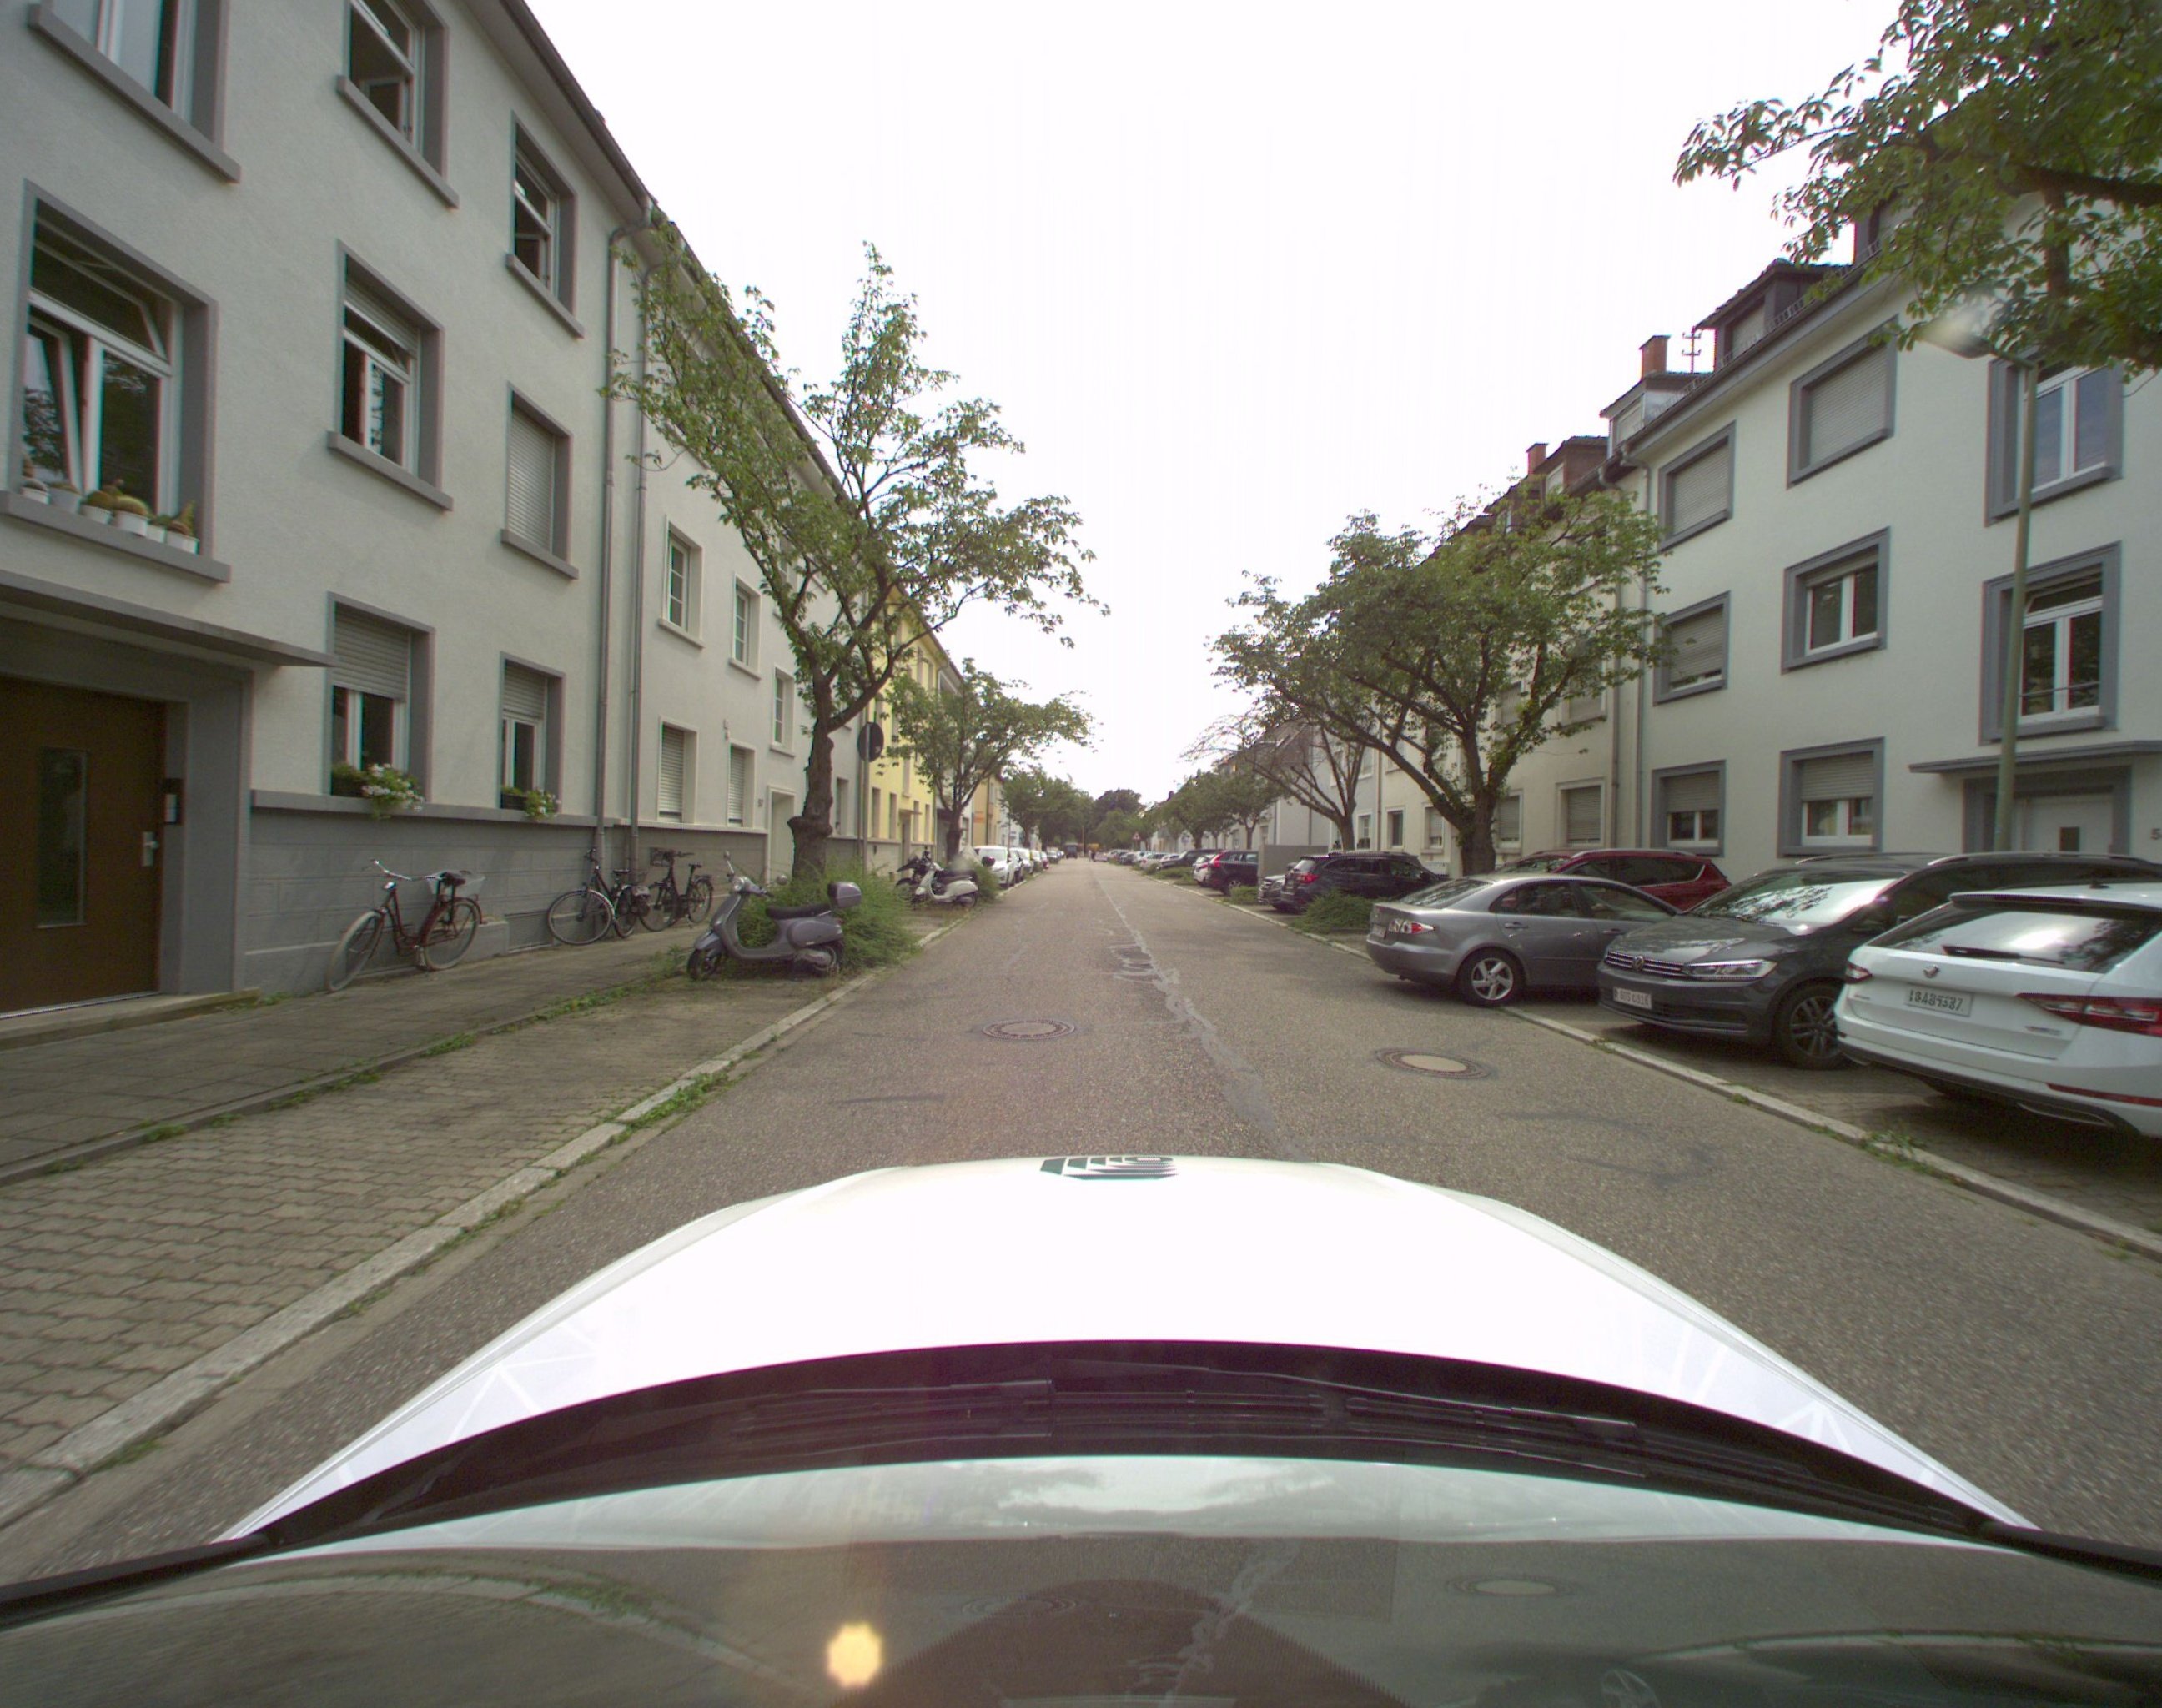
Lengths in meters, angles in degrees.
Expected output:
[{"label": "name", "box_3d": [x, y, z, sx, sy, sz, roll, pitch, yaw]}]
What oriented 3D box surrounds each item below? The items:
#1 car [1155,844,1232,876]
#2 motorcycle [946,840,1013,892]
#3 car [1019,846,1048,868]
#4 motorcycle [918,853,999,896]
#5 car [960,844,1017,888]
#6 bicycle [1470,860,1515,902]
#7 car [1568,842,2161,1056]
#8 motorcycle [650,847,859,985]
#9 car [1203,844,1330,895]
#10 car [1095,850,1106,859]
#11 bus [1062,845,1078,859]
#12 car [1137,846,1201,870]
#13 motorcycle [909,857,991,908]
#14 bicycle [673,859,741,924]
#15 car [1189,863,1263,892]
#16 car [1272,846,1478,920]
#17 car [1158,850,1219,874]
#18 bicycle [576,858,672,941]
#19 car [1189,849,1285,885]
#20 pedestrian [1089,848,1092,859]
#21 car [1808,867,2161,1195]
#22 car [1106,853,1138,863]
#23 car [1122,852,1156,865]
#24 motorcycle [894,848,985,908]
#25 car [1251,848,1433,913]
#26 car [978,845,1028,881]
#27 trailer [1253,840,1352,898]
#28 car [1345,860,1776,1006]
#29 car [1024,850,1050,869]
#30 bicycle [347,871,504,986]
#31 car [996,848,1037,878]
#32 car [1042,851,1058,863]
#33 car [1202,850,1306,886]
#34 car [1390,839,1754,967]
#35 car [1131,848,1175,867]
[{"label": "car", "box_3d": [6.841, 0.342, 49.978, 4.508, 1.858, 1.794, -1, 0, 2]}, {"label": "motorcycle", "box_3d": [-3.463, 0.382, 27.522, 0.944, 1.676, 2.444, 1, 0, -44]}, {"label": "car", "box_3d": [-3.533, 0.249, 61.509, 1.766, 1.392, 4.275, 7, 0, 1]}, {"label": "motorcycle", "box_3d": [-3.874, 0.634, 25.882, 2.440, 1.311, 0.643, -1, 0, 0]}, {"label": "car", "box_3d": [-3.510, 0.433, 31.555, 1.752, 1.556, 4.255, 1, 0, 0]}, {"label": "bicycle", "box_3d": [10.991, 0.698, 21.799, 0.501, 1.081, 1.474, -1, 0, 3]}, {"label": "car", "box_3d": [6.606, 0.701, 6.916, 3.975, 1.536, 1.637, -1, 0, -1]}, {"label": "motorcycle", "box_3d": [-3.546, 0.639, 9.026, 2.013, 1.407, 0.789, -1, 0, -12]}, {"label": "car", "box_3d": [6.632, 0.546, 29.518, 4.199, 1.736, 1.904, -1, 0, 1]}, {"label": "car", "box_3d": [2.925, 0.129, 122.569, 1.681, 1.354, 3.827, -1, 0, 1]}, {"label": "bus", "box_3d": [-2.237, -0.334, 162.584, 2.995, 2.761, 8.920, -1, 0, -1]}, {"label": "car", "box_3d": [6.603, 0.296, 61.199, 4.599, 1.664, 1.892, -1, 0, 0]}, {"label": "motorcycle", "box_3d": [-3.233, 0.676, 20.155, 1.916, 1.192, 0.592, -1, 0, -27]}, {"label": "bicycle", "box_3d": [-6.107, 0.584, 13.371, 0.419, 1.006, 1.434, -1, 0, 1]}, {"label": "car", "box_3d": [7.504, 1.206, 42.419, 3.533, 1.453, 1.808, -1, 0, -1]}, {"label": "car", "box_3d": [6.854, 0.661, 19.287, 4.204, 1.598, 1.902, -1, 0, -3]}, {"label": "car", "box_3d": [6.935, 0.491, 52.740, 3.618, 1.454, 1.770, -1, 0, -5]}, {"label": "bicycle", "box_3d": [-5.936, 0.563, 10.654, 0.419, 1.006, 1.434, -1, 0, 1]}, {"label": "car", "box_3d": [7.002, 0.576, 36.778, 3.978, 1.530, 1.766, -1, 0, -4]}, {"label": "pedestrian", "box_3d": [1.420, -0.049, 122.083, 0.520, 1.704, 0.445, -1, -1, 3]}, {"label": "car", "box_3d": [6.740, 0.796, 4.536, 3.975, 1.420, 1.637, -1, 0, -1]}, {"label": "car", "box_3d": [6.592, 0.580, 130.961, 4.962, 1.518, 1.767, -1, 0, -3]}, {"label": "car", "box_3d": [6.439, 0.540, 90.708, 3.735, 1.365, 1.773, -1, 0, 0]}, {"label": "motorcycle", "box_3d": [-3.661, 0.600, 21.152, 2.244, 1.481, 0.592, -1, -1, -27]}, {"label": "car", "box_3d": [6.843, 0.670, 21.620, 4.205, 1.598, 1.902, -1, 0, -3]}, {"label": "car", "box_3d": [-3.544, 0.409, 37.713, 1.785, 1.492, 4.811, 2, -1, 0]}, {"label": "trailer", "box_3d": [7.343, 0.490, 27.142, 2.948, 1.831, 1.402, -1, 0, 3]}, {"label": "car", "box_3d": [5.331, 0.827, 9.428, 3.975, 1.455, 1.766, -1, 0, -1]}, {"label": "car", "box_3d": [-3.541, 0.408, 66.883, 1.871, 1.486, 4.511, -1, 0, 0]}, {"label": "bicycle", "box_3d": [-6.144, 0.655, 7.718, 0.308, 0.966, 1.434, -1, 0, 1]}, {"label": "car", "box_3d": [-3.614, 0.503, 46.183, 1.912, 1.581, 4.382, -1, 0, 0]}, {"label": "car", "box_3d": [-3.962, 0.410, 105.470, 1.756, 1.554, 3.734, -1, 0, 3]}, {"label": "car", "box_3d": [7.232, 0.564, 34.275, 3.978, 1.410, 1.766, -1, 0, -4]}, {"label": "car", "box_3d": [7.004, 0.668, 11.988, 4.199, 1.677, 1.904, -1, 0, 1]}, {"label": "car", "box_3d": [6.630, 0.317, 75.051, 3.910, 1.633, 1.868, -1, 0, 0]}]
